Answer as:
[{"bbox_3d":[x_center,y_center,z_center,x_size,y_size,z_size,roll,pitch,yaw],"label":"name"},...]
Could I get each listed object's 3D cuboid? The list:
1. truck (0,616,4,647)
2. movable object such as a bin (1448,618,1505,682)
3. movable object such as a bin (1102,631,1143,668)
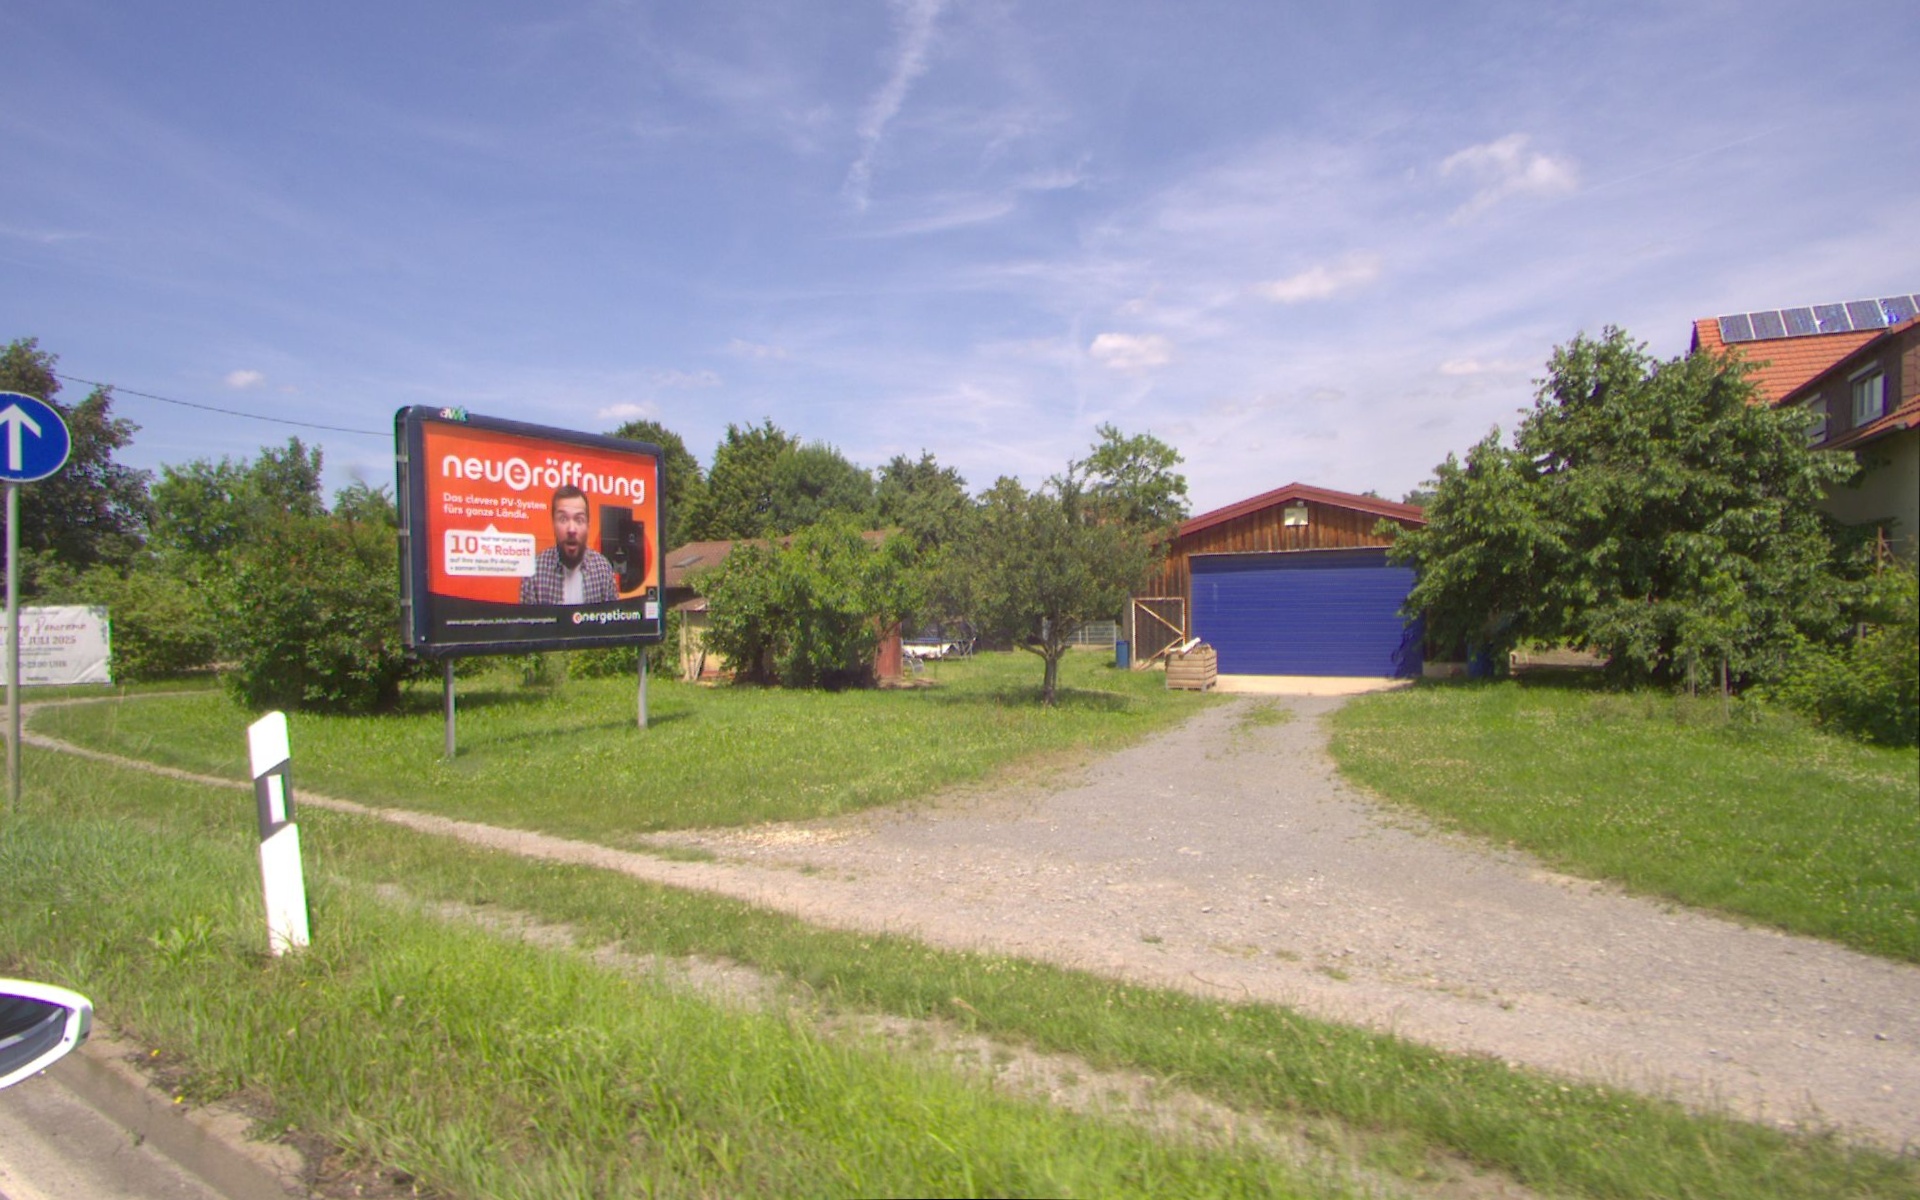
[{"bbox_3d":[-90.303,2.886,92.347,2.398,2.875,5.374,0,-1,-36],"label":"truck"},{"bbox_3d":[11.959,1.132,23.174,1.049,1.415,1.271,0,0,33],"label":"movable object such as a bin"},{"bbox_3d":[4.727,1.432,29.095,1.044,1.046,1.040,0,0,17],"label":"movable object such as a bin"}]
